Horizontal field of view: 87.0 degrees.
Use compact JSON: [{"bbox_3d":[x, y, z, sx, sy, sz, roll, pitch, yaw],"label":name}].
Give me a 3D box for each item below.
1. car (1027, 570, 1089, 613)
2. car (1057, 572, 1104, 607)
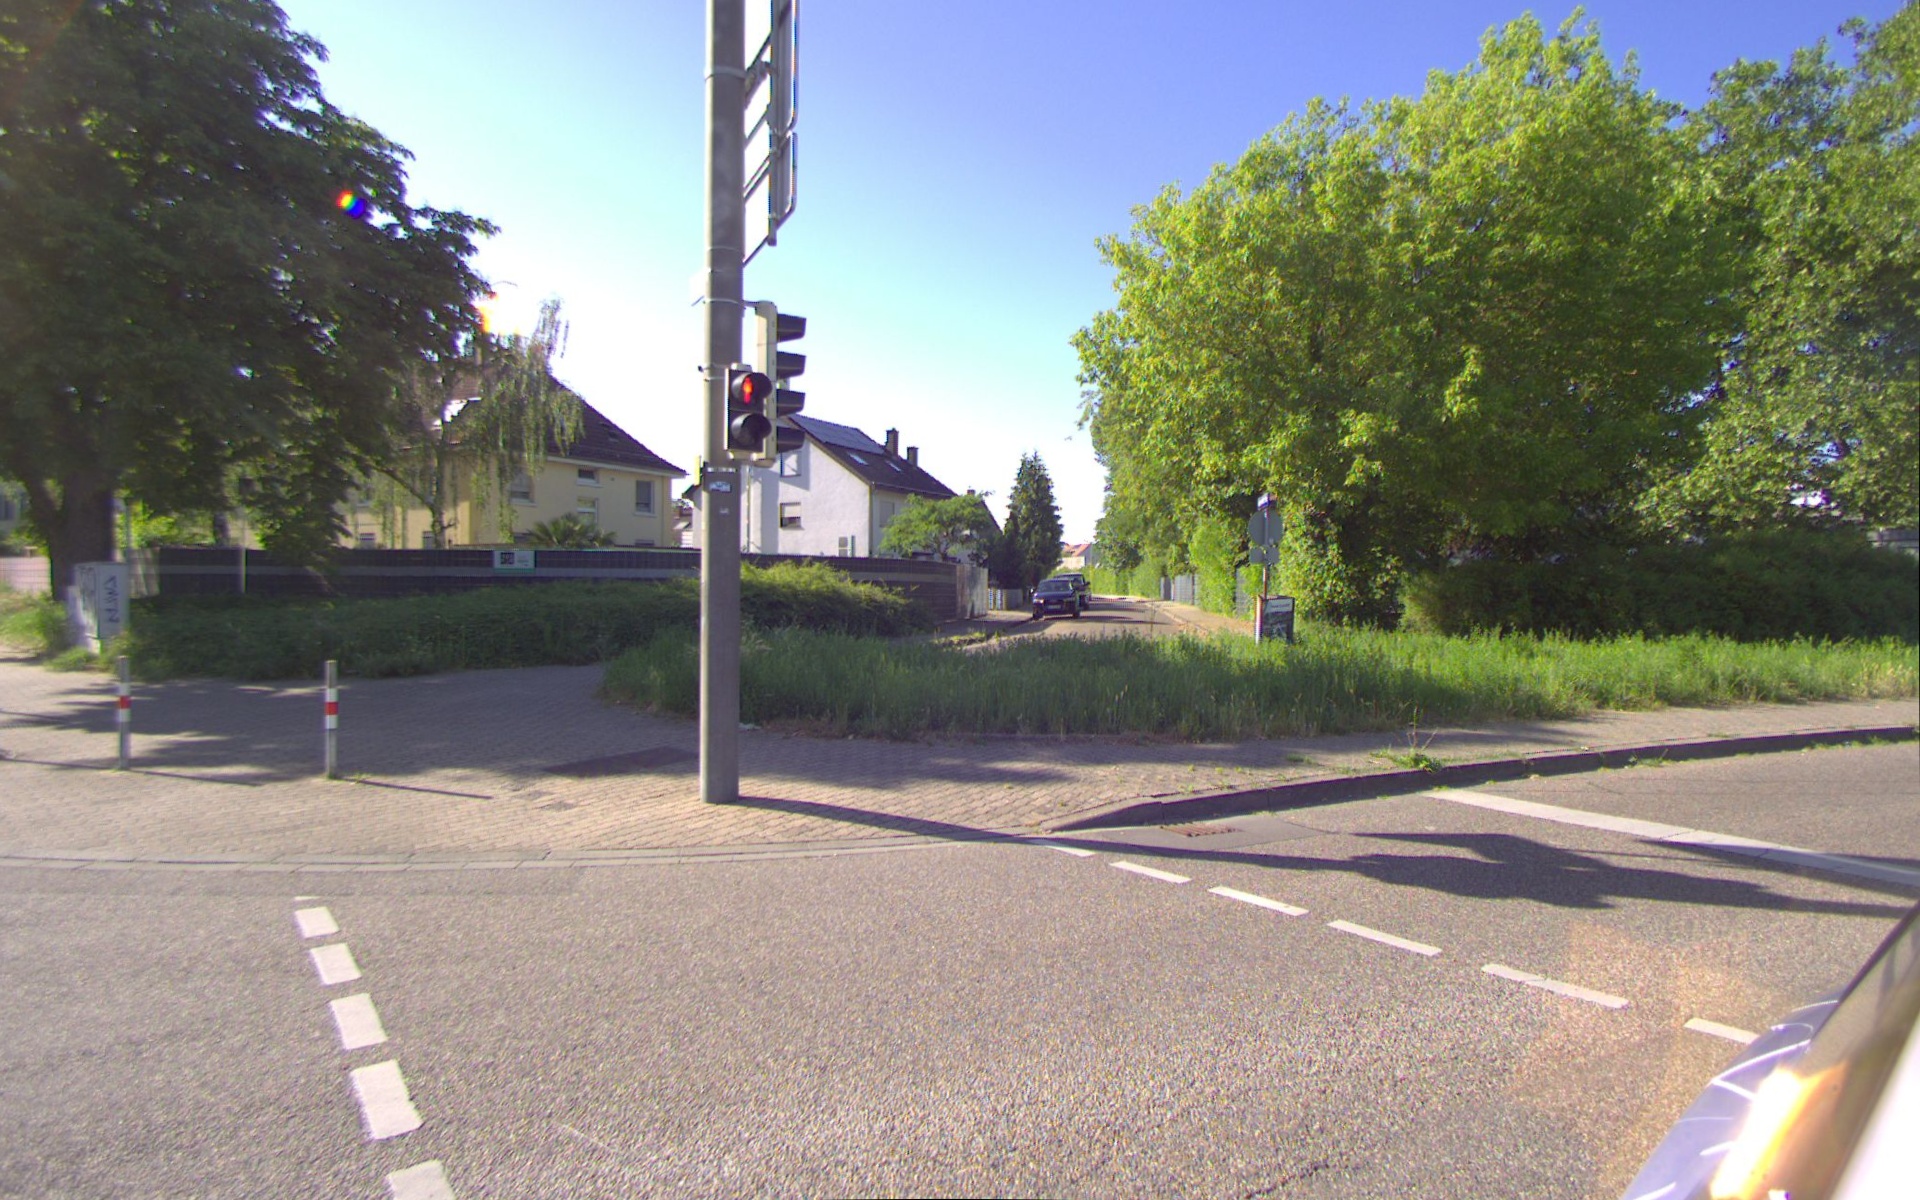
[{"bbox_3d":[3.950,-0.343,40.164,1.970,1.576,3.984,-1,1,13],"label":"car"},{"bbox_3d":[6.194,-0.535,51.692,1.934,1.687,3.984,1,1,13],"label":"car"}]
